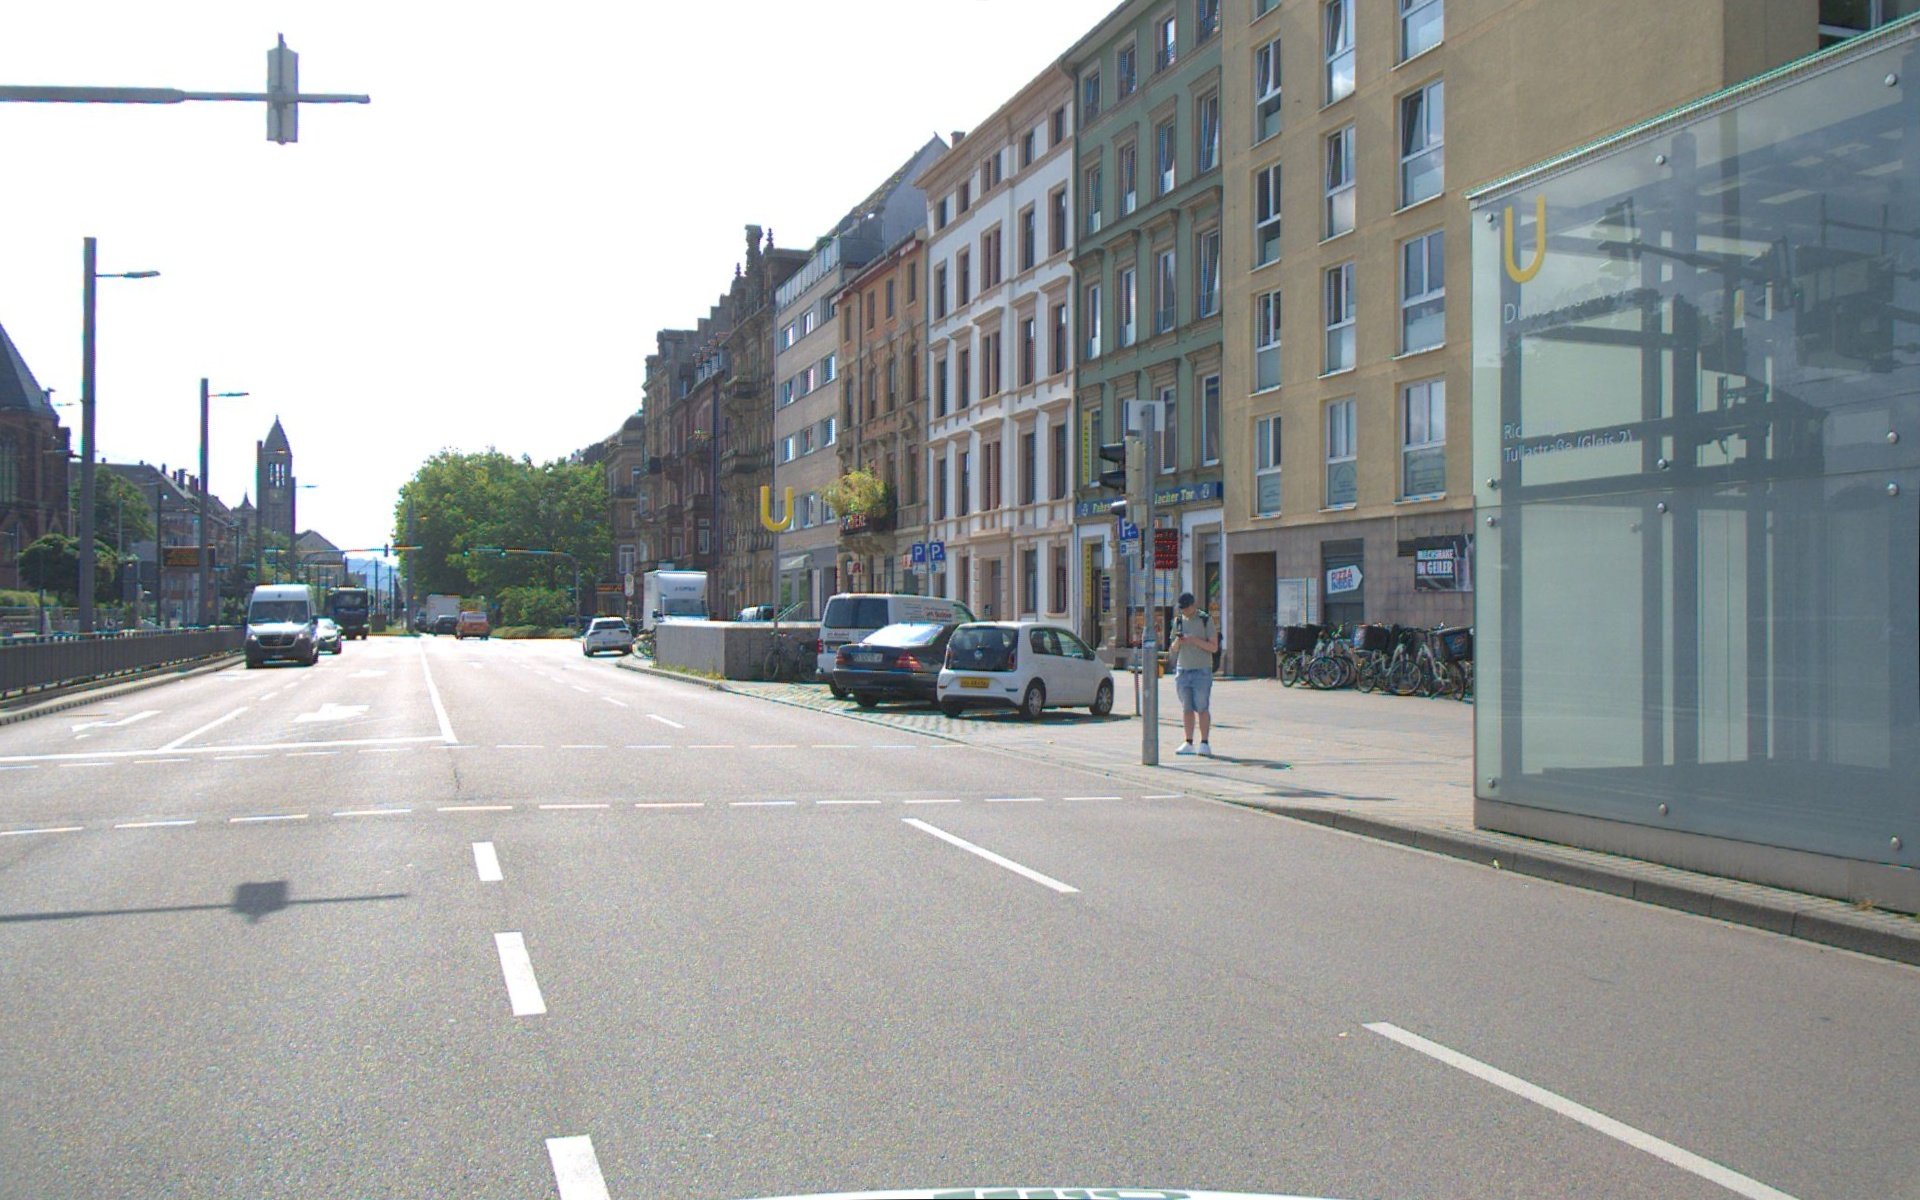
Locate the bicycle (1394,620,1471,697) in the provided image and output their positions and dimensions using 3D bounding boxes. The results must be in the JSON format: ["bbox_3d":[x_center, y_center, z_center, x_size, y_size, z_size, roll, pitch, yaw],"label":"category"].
[{"bbox_3d":[8.178,0.993,28.704,0.538,1.222,1.639,-1,2,-14],"label":"bicycle"}]

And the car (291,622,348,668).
[{"bbox_3d":[-26.416,1.828,68.342,1.821,1.480,4.533,-3,3,-18],"label":"car"}]

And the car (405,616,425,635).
[{"bbox_3d":[-50.667,2.383,153.706,1.743,1.691,3.979,0,-2,-18],"label":"car"}]

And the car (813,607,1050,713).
[{"bbox_3d":[-0.370,0.957,28.846,1.849,1.494,5.056,0,2,29],"label":"car"}]

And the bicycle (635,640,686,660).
[{"bbox_3d":[-10.261,1.708,56.701,1.733,0.596,0.637,0,2,32],"label":"bicycle"}]

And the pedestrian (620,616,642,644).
[{"bbox_3d":[-16.718,1.517,84.006,0.804,1.339,0.742,1,1,33],"label":"pedestrian"}]

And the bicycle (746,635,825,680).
[{"bbox_3d":[-4.090,1.338,38.793,1.750,1.021,0.509,1,1,-25],"label":"bicycle"}]

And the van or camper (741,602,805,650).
[{"bbox_3d":[-9.110,1.211,80.316,1.964,1.937,5.270,-4,3,-18],"label":"van or camper"}]

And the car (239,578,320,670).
[{"bbox_3d":[-22.156,0.708,53.999,1.964,2.667,5.551,-3,2,-19],"label":"car"}]

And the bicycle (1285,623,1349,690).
[{"bbox_3d":[7.172,1.114,33.273,0.479,1.222,1.637,-2,2,-18],"label":"bicycle"}]

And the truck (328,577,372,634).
[{"bbox_3d":[-41.050,0.390,111.476,2.425,3.712,7.411,0,0,-18],"label":"truck"}]

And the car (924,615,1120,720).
[{"bbox_3d":[1.052,1.016,26.372,1.682,1.465,3.505,1,1,30],"label":"car"}]

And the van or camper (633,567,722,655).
[{"bbox_3d":[-11.894,0.357,69.164,2.669,3.388,7.604,-2,2,-17],"label":"van or camper"}]

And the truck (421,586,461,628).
[{"bbox_3d":[-44.086,0.626,140.450,3.120,3.344,7.259,0,-2,-18],"label":"truck"}]

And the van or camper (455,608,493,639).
[{"bbox_3d":[-33.048,1.605,112.392,1.981,1.948,4.491,1,-3,-22],"label":"van or camper"}]

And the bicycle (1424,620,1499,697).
[{"bbox_3d":[8.719,0.995,28.815,0.478,1.222,1.639,-1,2,-14],"label":"bicycle"}]

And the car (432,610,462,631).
[{"bbox_3d":[-37.965,1.512,122.292,1.964,1.534,3.976,0,0,-20],"label":"car"}]

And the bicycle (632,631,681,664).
[{"bbox_3d":[-11.183,1.749,60.987,1.740,1.103,0.369,-1,3,-31],"label":"bicycle"}]

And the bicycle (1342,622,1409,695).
[{"bbox_3d":[7.651,1.069,30.540,0.478,1.222,1.639,-1,2,-14],"label":"bicycle"}]

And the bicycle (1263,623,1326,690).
[{"bbox_3d":[6.674,1.108,33.063,0.479,1.222,1.637,-2,2,-18],"label":"bicycle"}]

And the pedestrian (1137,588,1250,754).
[{"bbox_3d":[2.609,0.777,18.479,0.987,1.790,0.773,1,-2,-43],"label":"pedestrian"}]

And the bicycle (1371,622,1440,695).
[{"bbox_3d":[8.206,1.065,30.518,0.478,1.222,1.639,-1,2,-14],"label":"bicycle"}]

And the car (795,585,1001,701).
[{"bbox_3d":[-1.119,0.774,32.893,2.032,2.121,4.895,0,0,26],"label":"car"}]

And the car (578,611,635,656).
[{"bbox_3d":[-13.982,1.287,65.253,1.763,1.461,4.323,-5,2,-17],"label":"car"}]
